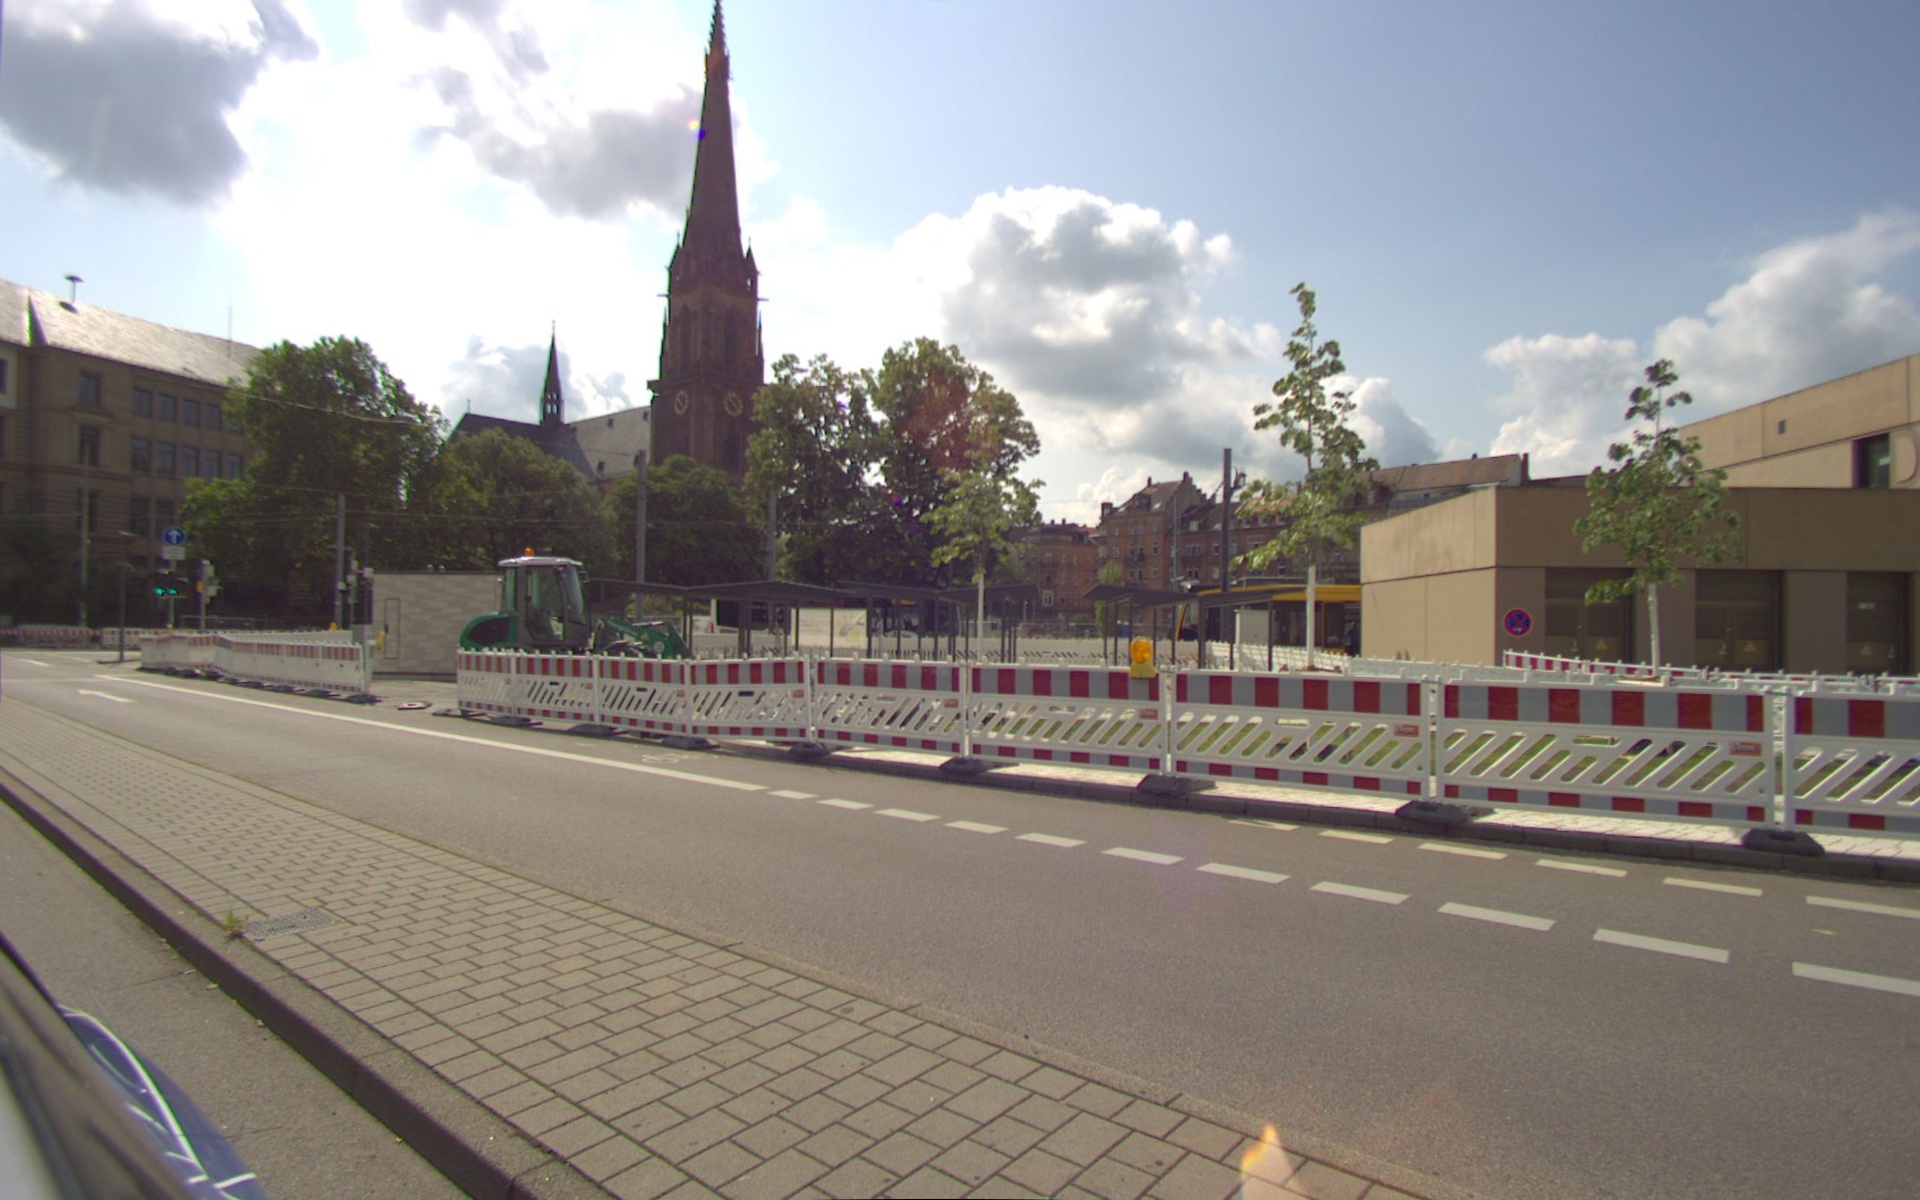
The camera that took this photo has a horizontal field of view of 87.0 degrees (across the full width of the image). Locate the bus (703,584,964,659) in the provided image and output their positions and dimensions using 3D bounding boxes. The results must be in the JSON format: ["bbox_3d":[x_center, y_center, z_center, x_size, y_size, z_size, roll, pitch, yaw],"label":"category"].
[{"bbox_3d":[-5.885,1.013,48.037,11.925,3.287,2.988,1,-2,6],"label":"bus"}]

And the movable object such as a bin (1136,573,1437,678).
[{"bbox_3d":[11.150,0.873,35.528,9.571,3.450,3.015,0,-2,7],"label":"movable object such as a bin"}]

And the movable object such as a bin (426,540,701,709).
[{"bbox_3d":[-7.334,0.481,19.133,4.385,2.972,2.001,1,-2,-3],"label":"movable object such as a bin"}]

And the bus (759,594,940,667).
[{"bbox_3d":[-4.852,1.343,44.942,7.666,3.081,2.370,0,-2,6],"label":"bus"}]
